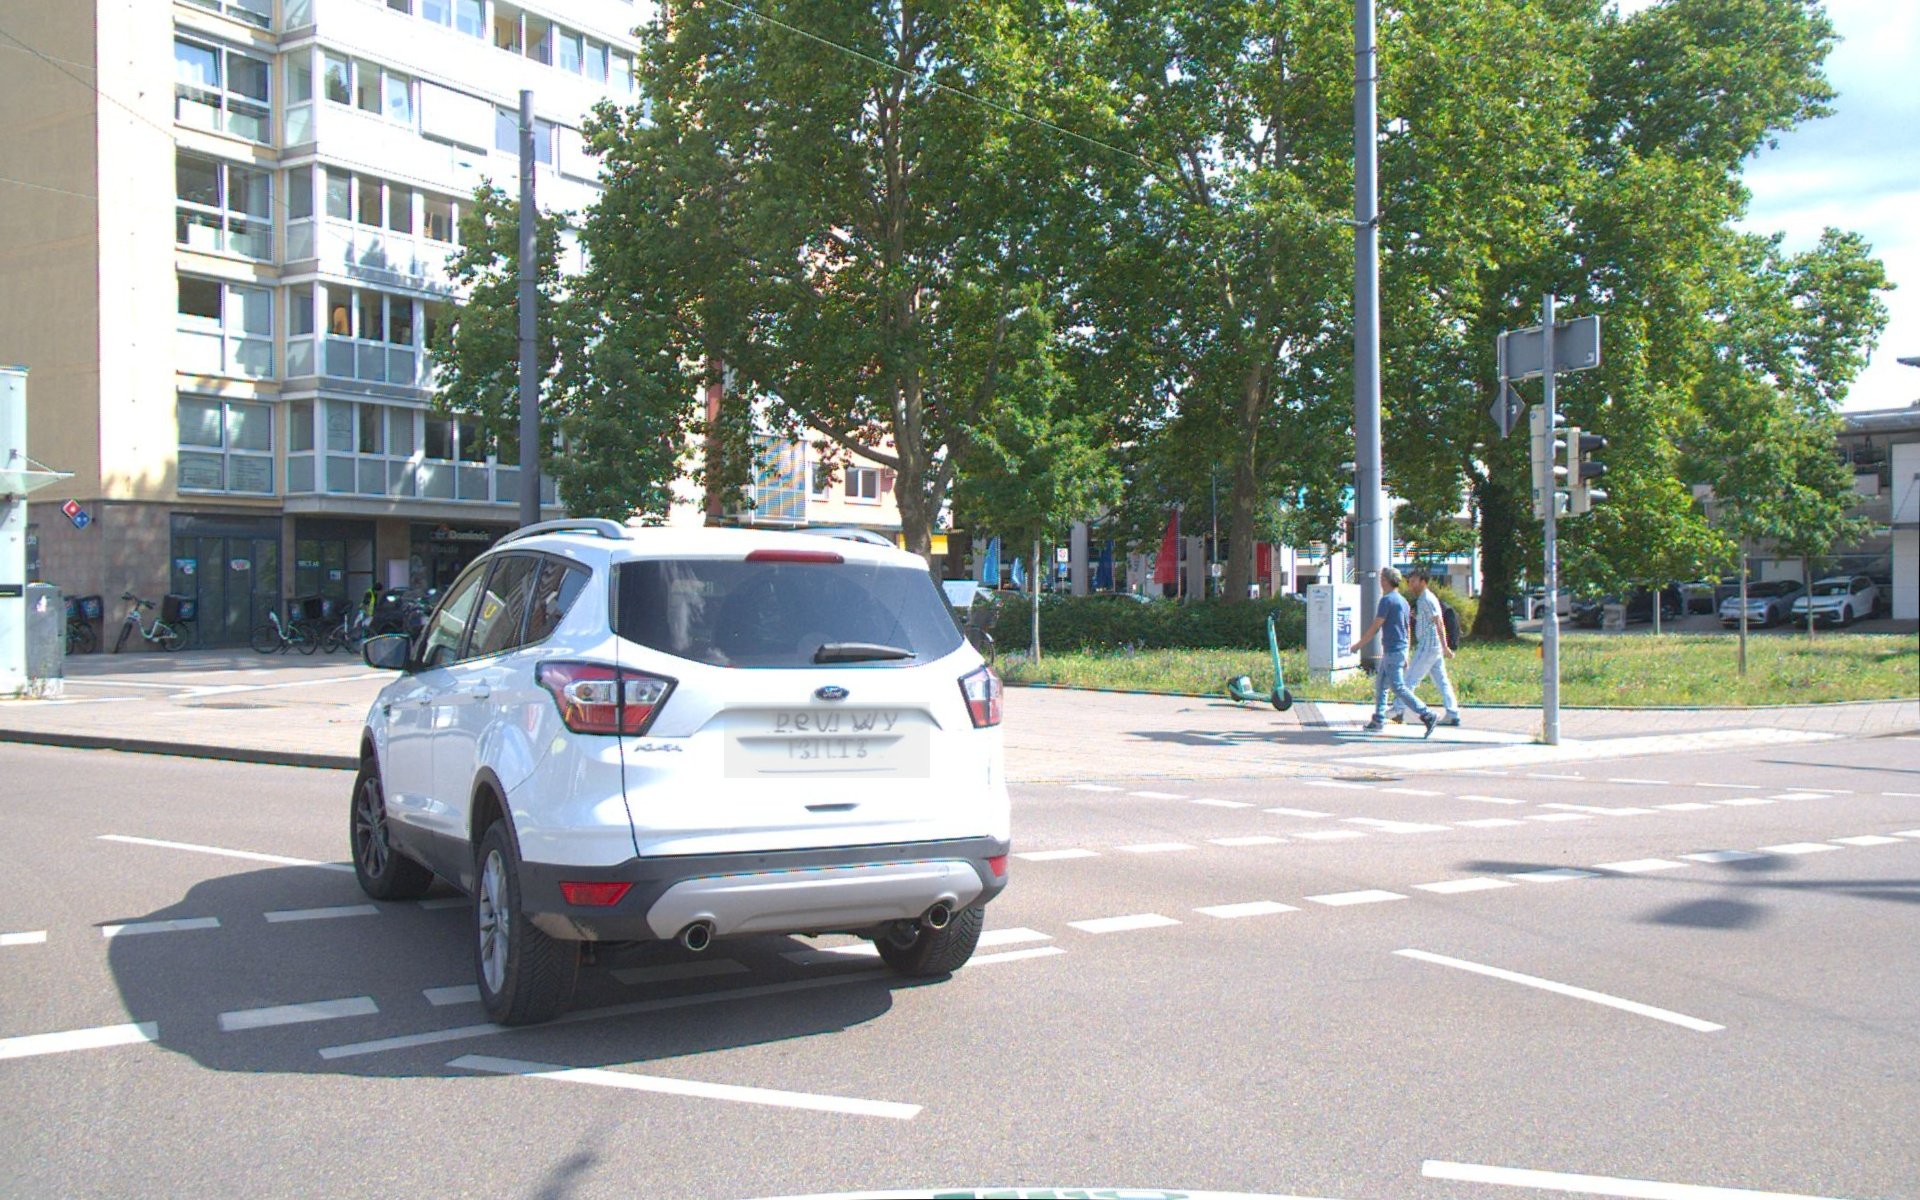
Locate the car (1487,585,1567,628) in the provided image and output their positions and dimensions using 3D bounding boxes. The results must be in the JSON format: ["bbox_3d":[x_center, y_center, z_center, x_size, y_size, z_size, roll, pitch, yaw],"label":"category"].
[{"bbox_3d":[25.016,0.309,73.082,1.801,1.821,3.994,0,-1,-6],"label":"car"}]

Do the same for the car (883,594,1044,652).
[{"bbox_3d":[0.060,0.557,40.581,3.930,1.350,1.623,-1,-1,43],"label":"car"}]

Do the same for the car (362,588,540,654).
[{"bbox_3d":[-11.651,0.461,37.829,3.912,1.422,1.669,0,0,29],"label":"car"}]

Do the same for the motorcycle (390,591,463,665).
[{"bbox_3d":[-9.612,0.480,29.763,0.892,1.259,2.199,-2,1,-27],"label":"motorcycle"}]

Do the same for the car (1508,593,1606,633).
[{"bbox_3d":[27.639,0.630,76.652,1.822,1.821,3.947,0,-1,-37],"label":"car"}]

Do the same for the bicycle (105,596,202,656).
[{"bbox_3d":[-17.862,0.555,36.658,0.782,1.280,1.800,0,1,40],"label":"bicycle"}]

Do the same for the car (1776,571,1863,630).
[{"bbox_3d":[31.665,0.043,60.892,1.963,2.049,4.208,-2,-2,40],"label":"car"}]

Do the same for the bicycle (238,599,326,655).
[{"bbox_3d":[-14.687,0.576,35.817,1.769,1.167,0.796,0,1,27],"label":"bicycle"}]

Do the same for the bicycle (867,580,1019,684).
[{"bbox_3d":[-0.262,0.441,24.391,2.127,1.439,0.811,1,2,30],"label":"bicycle"}]

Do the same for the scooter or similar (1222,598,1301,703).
[{"bbox_3d":[3.662,0.599,20.149,0.392,1.214,1.168,1,1,-19],"label":"scooter or similar"}]

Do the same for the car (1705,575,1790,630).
[{"bbox_3d":[30.001,0.120,62.947,1.937,1.971,4.208,-2,-2,40],"label":"car"}]

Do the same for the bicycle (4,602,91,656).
[{"bbox_3d":[-19.866,0.620,36.018,1.768,1.123,0.796,0,1,26],"label":"bicycle"}]

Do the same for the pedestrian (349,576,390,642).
[{"bbox_3d":[-14.836,0.221,41.561,0.847,1.636,0.824,1,1,-28],"label":"pedestrian"}]

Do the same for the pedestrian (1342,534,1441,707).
[{"bbox_3d":[4.593,0.200,17.602,0.905,1.774,0.589,2,1,23],"label":"pedestrian"}]

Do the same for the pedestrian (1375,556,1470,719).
[{"bbox_3d":[5.209,0.405,18.626,0.906,1.774,0.589,2,1,26],"label":"pedestrian"}]

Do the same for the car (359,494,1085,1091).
[{"bbox_3d":[-1.277,0.544,6.866,1.806,1.693,3.920,-1,0,-27],"label":"car"}]

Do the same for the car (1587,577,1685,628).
[{"bbox_3d":[27.360,0.121,66.844,1.940,1.971,5.034,-2,-2,43],"label":"car"}]

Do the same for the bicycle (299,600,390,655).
[{"bbox_3d":[-13.607,0.599,36.564,1.905,1.167,0.796,0,1,27],"label":"bicycle"}]
